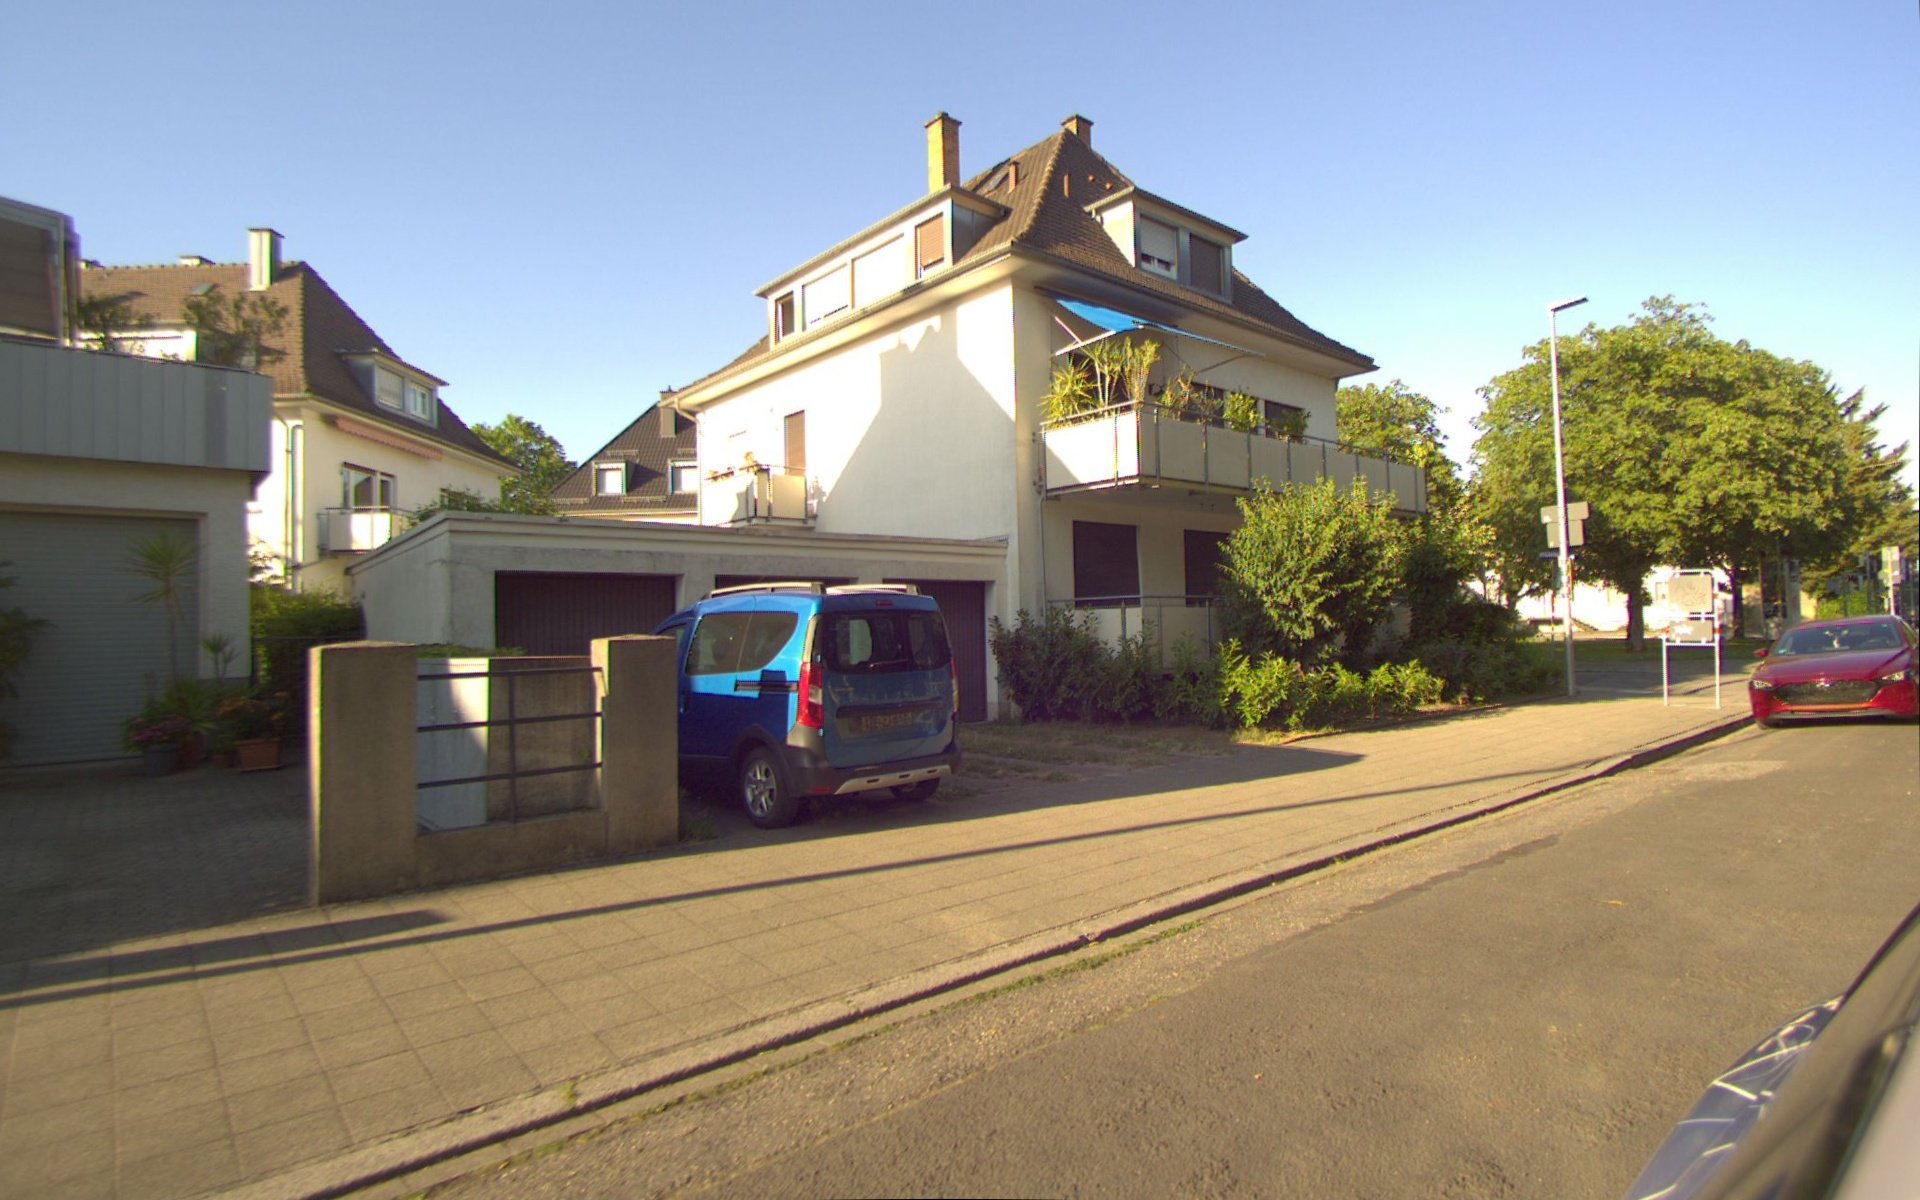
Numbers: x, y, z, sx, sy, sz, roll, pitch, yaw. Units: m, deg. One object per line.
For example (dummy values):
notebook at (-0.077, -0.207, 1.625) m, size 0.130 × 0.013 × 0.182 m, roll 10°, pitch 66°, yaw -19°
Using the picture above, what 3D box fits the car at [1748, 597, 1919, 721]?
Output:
car at (12.800, 0.746, 14.325) m, size 4.151 × 1.514 × 1.822 m, roll 0°, pitch -2°, yaw -42°

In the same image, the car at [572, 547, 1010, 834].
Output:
car at (-1.687, 0.698, 9.063) m, size 1.967 × 1.953 × 3.989 m, roll 0°, pitch -3°, yaw -44°
